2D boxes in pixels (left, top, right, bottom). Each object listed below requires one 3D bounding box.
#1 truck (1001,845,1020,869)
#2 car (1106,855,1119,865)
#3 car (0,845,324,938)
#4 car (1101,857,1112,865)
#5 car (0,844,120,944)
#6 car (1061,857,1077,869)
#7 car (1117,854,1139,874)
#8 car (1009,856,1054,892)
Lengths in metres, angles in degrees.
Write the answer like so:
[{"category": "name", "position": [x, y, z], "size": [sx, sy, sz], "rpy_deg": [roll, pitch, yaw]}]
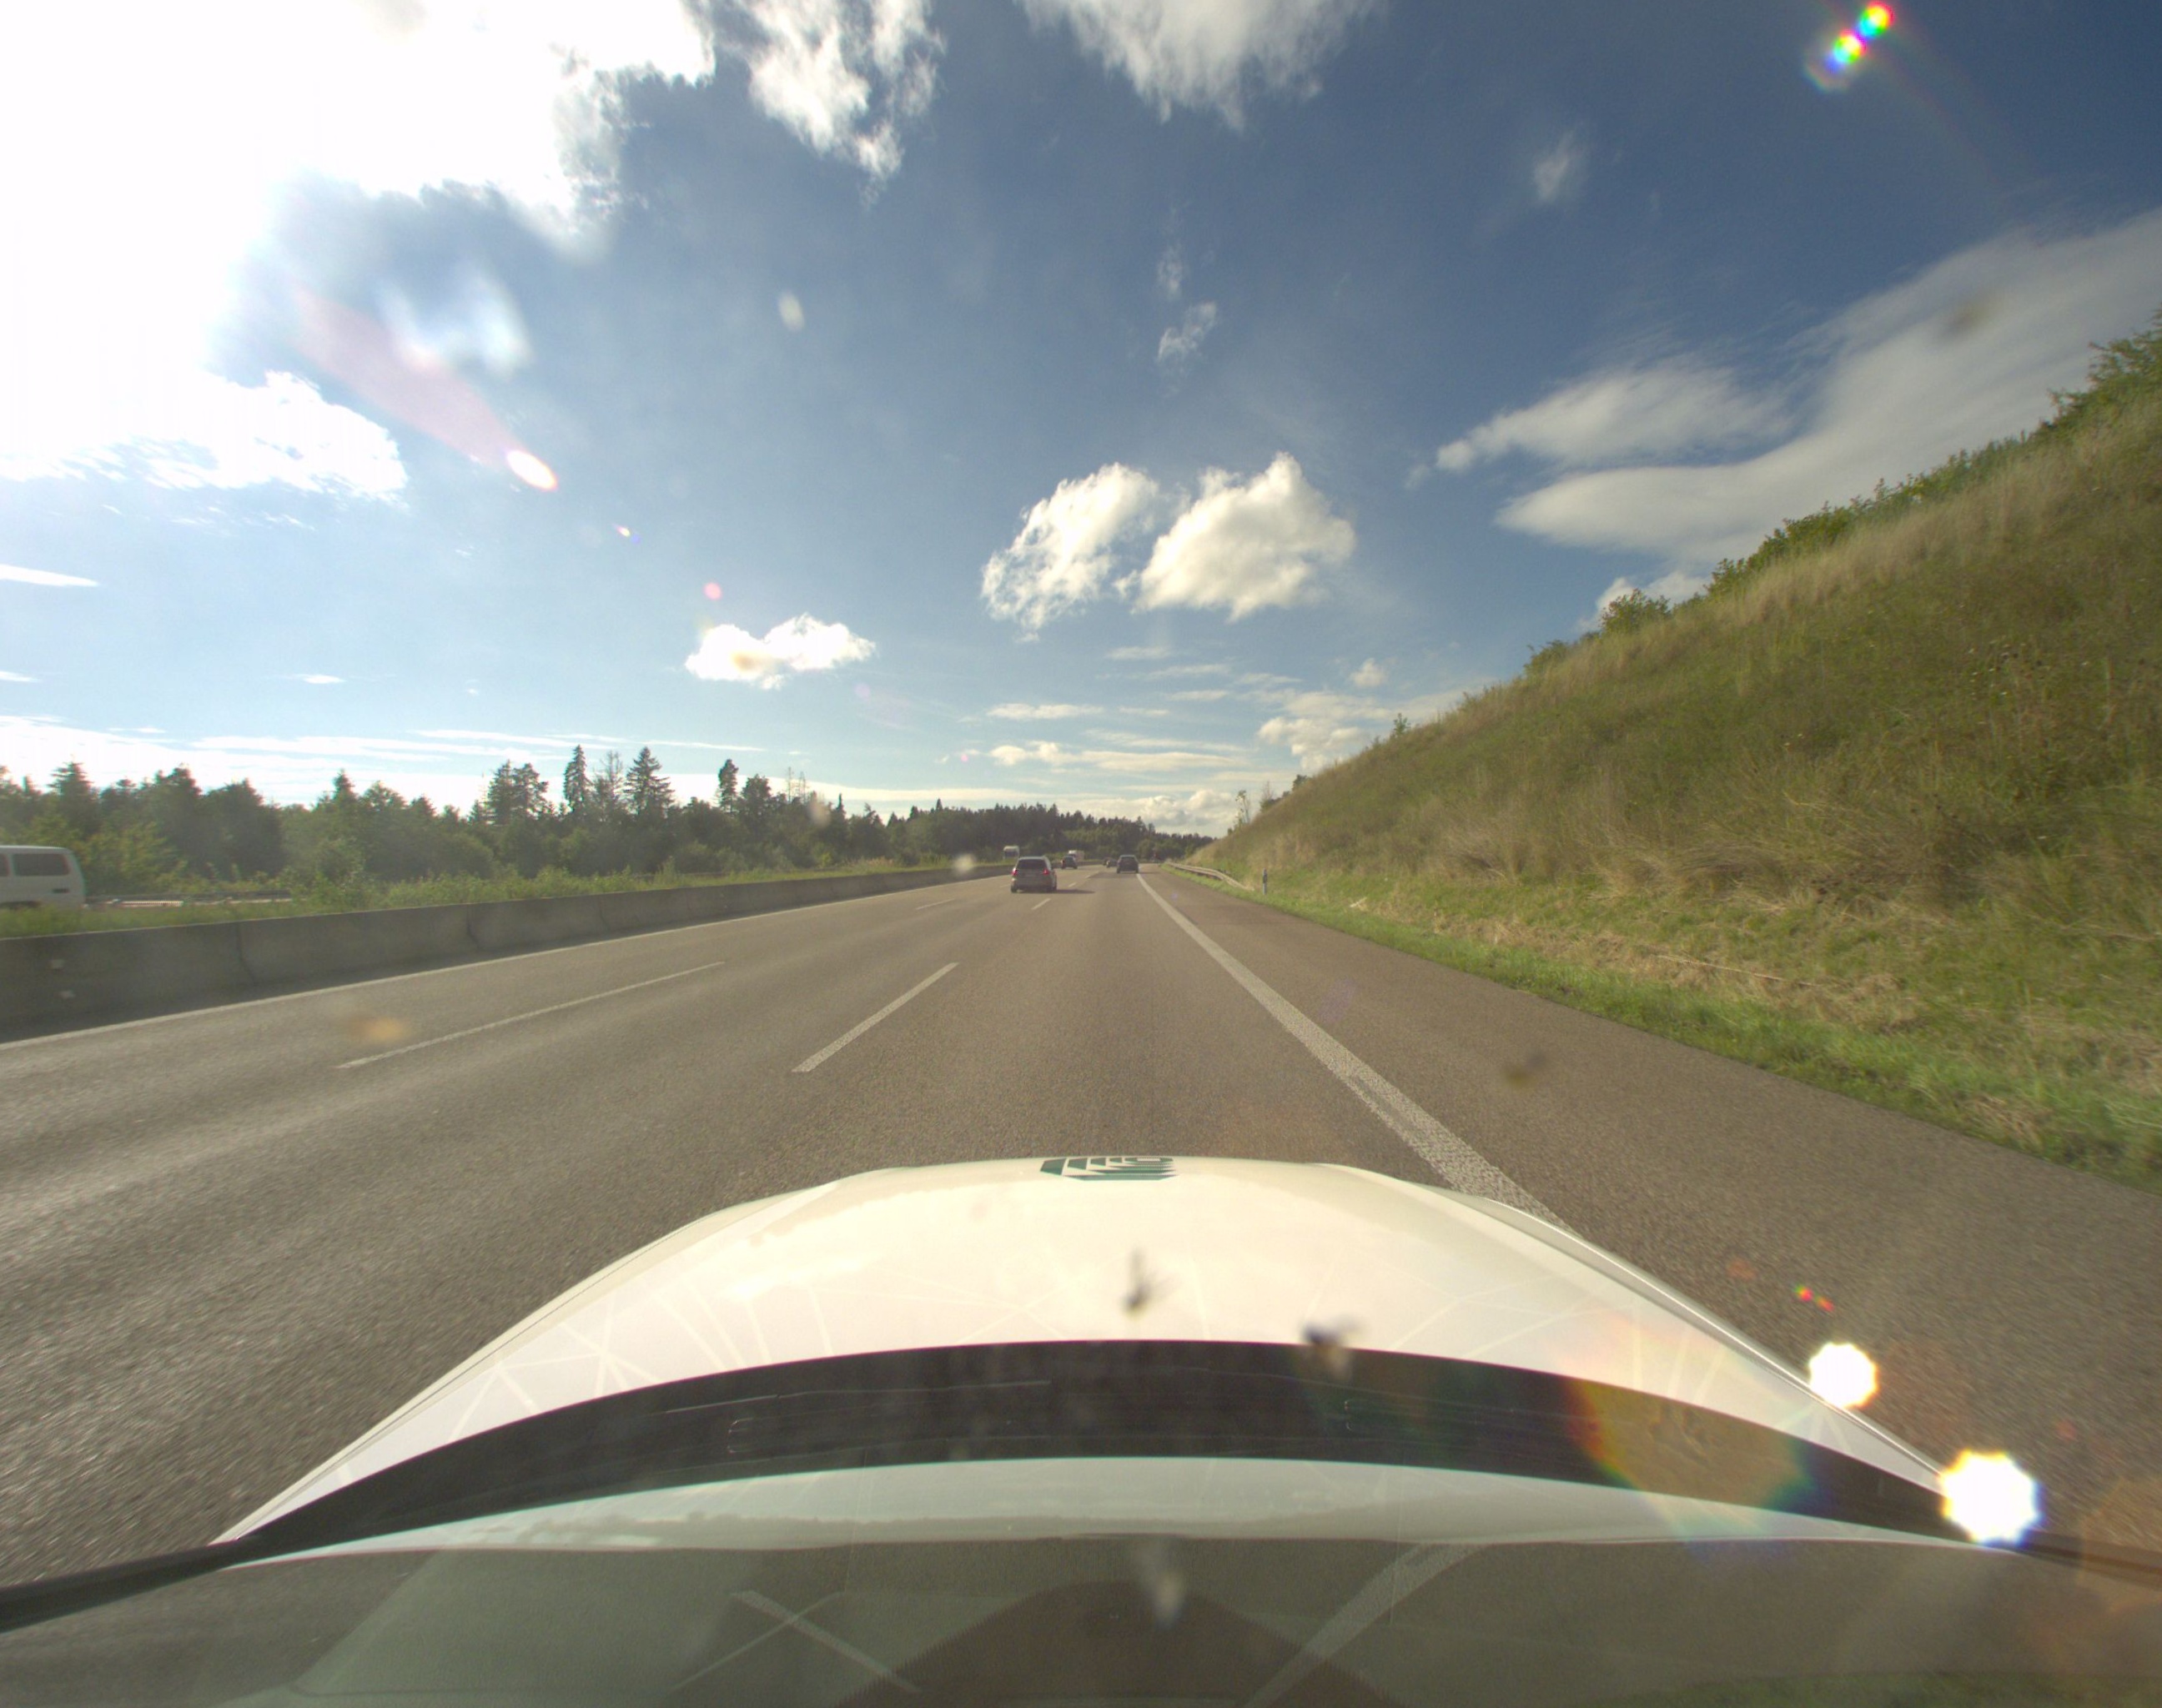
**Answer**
[{"category": "truck", "position": [-13.290, 0.535, 153.585], "size": [2.790, 4.392, 5.469], "rpy_deg": [-1, 0, 3]}, {"category": "car", "position": [4.697, 0.891, 120.141], "size": [1.866, 1.497, 3.882], "rpy_deg": [-1, 0, 2]}, {"category": "car", "position": [-22.569, 0.818, 20.416], "size": [1.986, 2.013, 5.389], "rpy_deg": [-1, 0, 2]}, {"category": "car", "position": [4.781, 1.250, 151.658], "size": [1.866, 1.497, 3.883], "rpy_deg": [-1, 0, 3]}, {"category": "car", "position": [-22.767, 0.818, 15.687], "size": [1.986, 2.013, 5.389], "rpy_deg": [-1, 0, 2]}, {"category": "car", "position": [-1.521, 1.101, 105.652], "size": [1.867, 1.497, 3.881], "rpy_deg": [-1, 0, 1]}, {"category": "car", "position": [4.162, 0.867, 72.922], "size": [1.867, 1.675, 3.891], "rpy_deg": [-1, 0, 1]}, {"category": "car", "position": [-2.163, 0.864, 36.332], "size": [1.869, 1.497, 3.876], "rpy_deg": [-1, 0, -2]}]
